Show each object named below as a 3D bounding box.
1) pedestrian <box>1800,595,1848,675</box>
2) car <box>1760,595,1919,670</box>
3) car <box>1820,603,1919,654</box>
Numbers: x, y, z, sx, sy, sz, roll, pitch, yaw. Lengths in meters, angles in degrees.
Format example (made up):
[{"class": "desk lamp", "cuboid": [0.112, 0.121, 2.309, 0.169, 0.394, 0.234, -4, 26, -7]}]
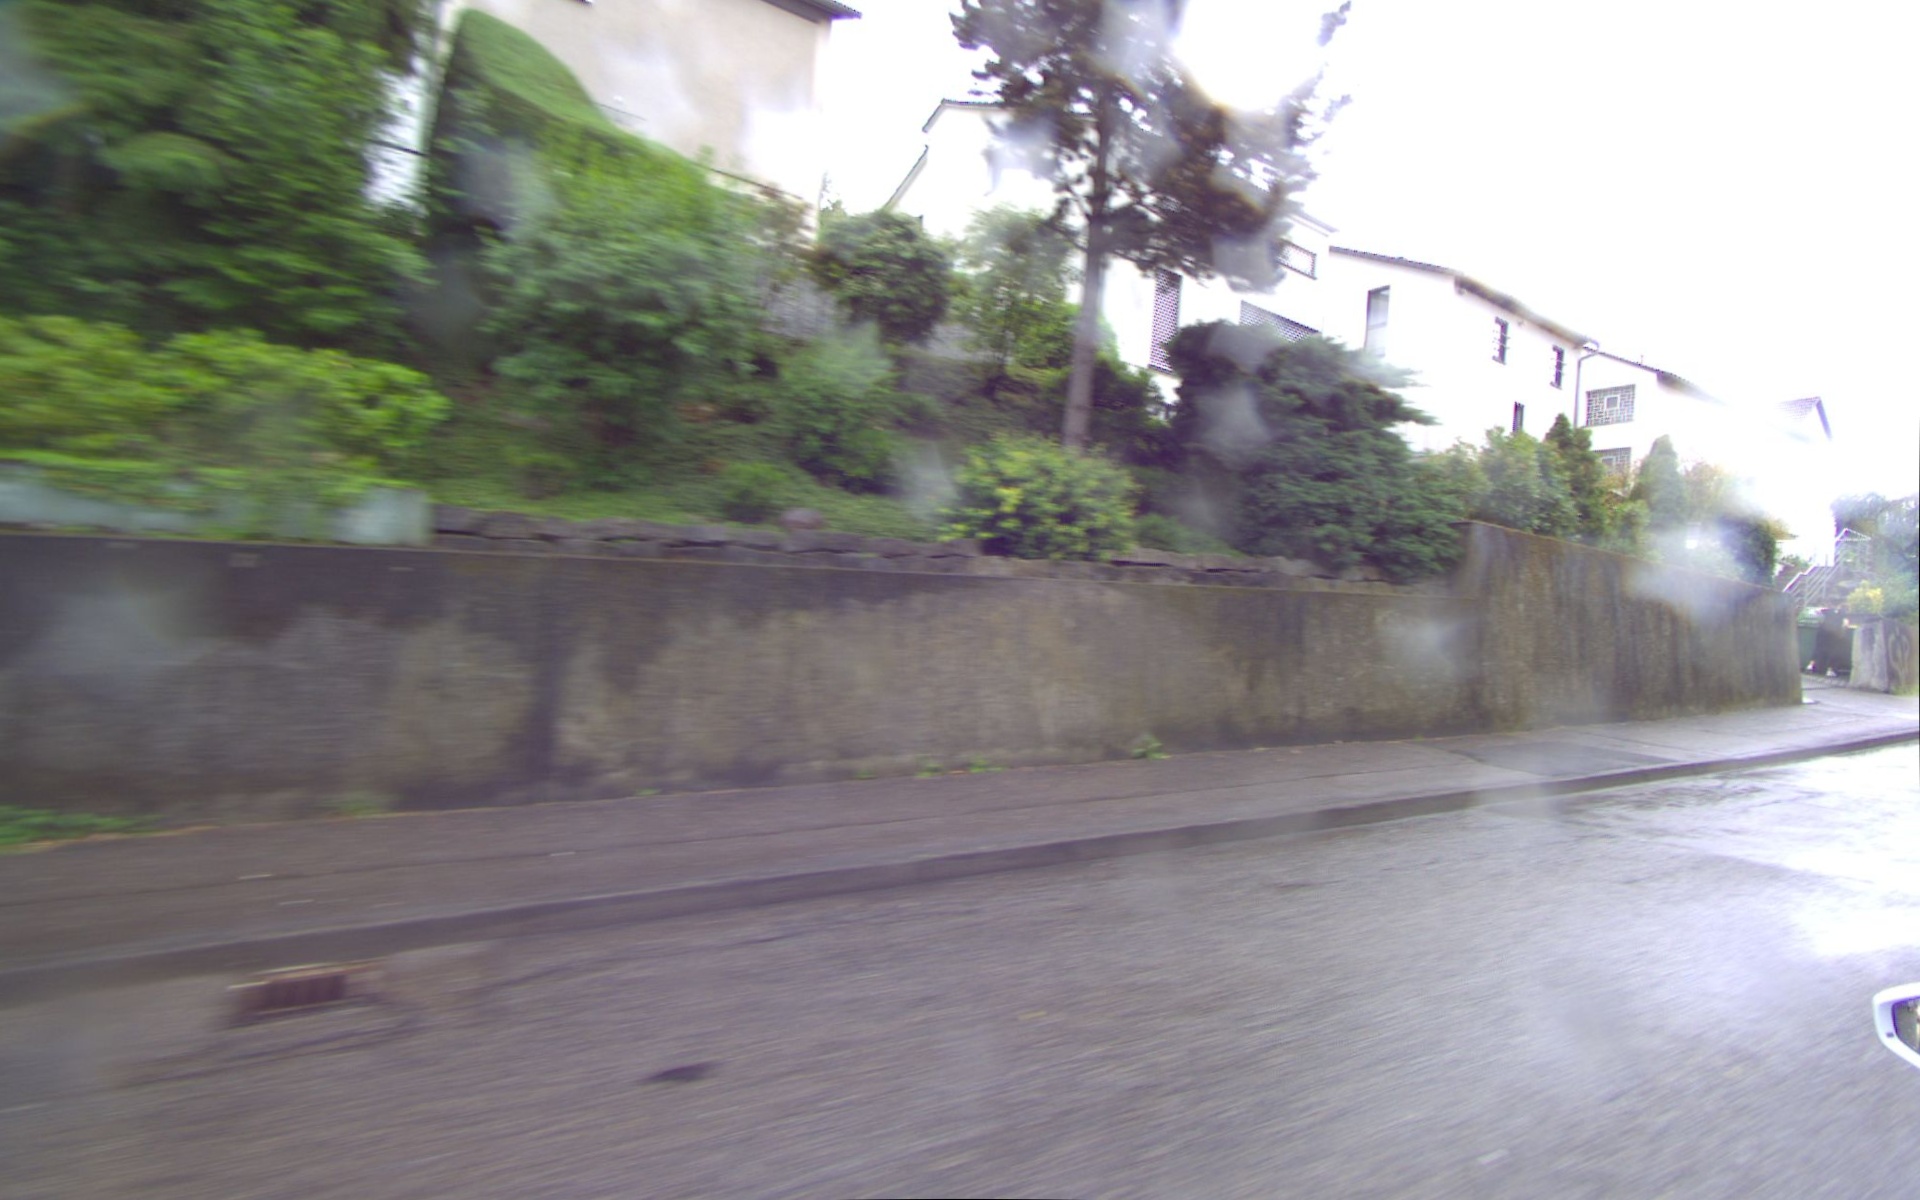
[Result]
[{"class": "pedestrian", "cuboid": [18.754, 0.742, 21.810, 0.727, 1.671, 0.650, 0, 2, -42]}, {"class": "car", "cuboid": [26.667, 0.982, 29.539, 1.916, 1.636, 4.474, 2, 6, -38]}, {"class": "car", "cuboid": [37.791, 1.233, 40.547, 1.747, 1.450, 4.227, 3, 9, -33]}]
